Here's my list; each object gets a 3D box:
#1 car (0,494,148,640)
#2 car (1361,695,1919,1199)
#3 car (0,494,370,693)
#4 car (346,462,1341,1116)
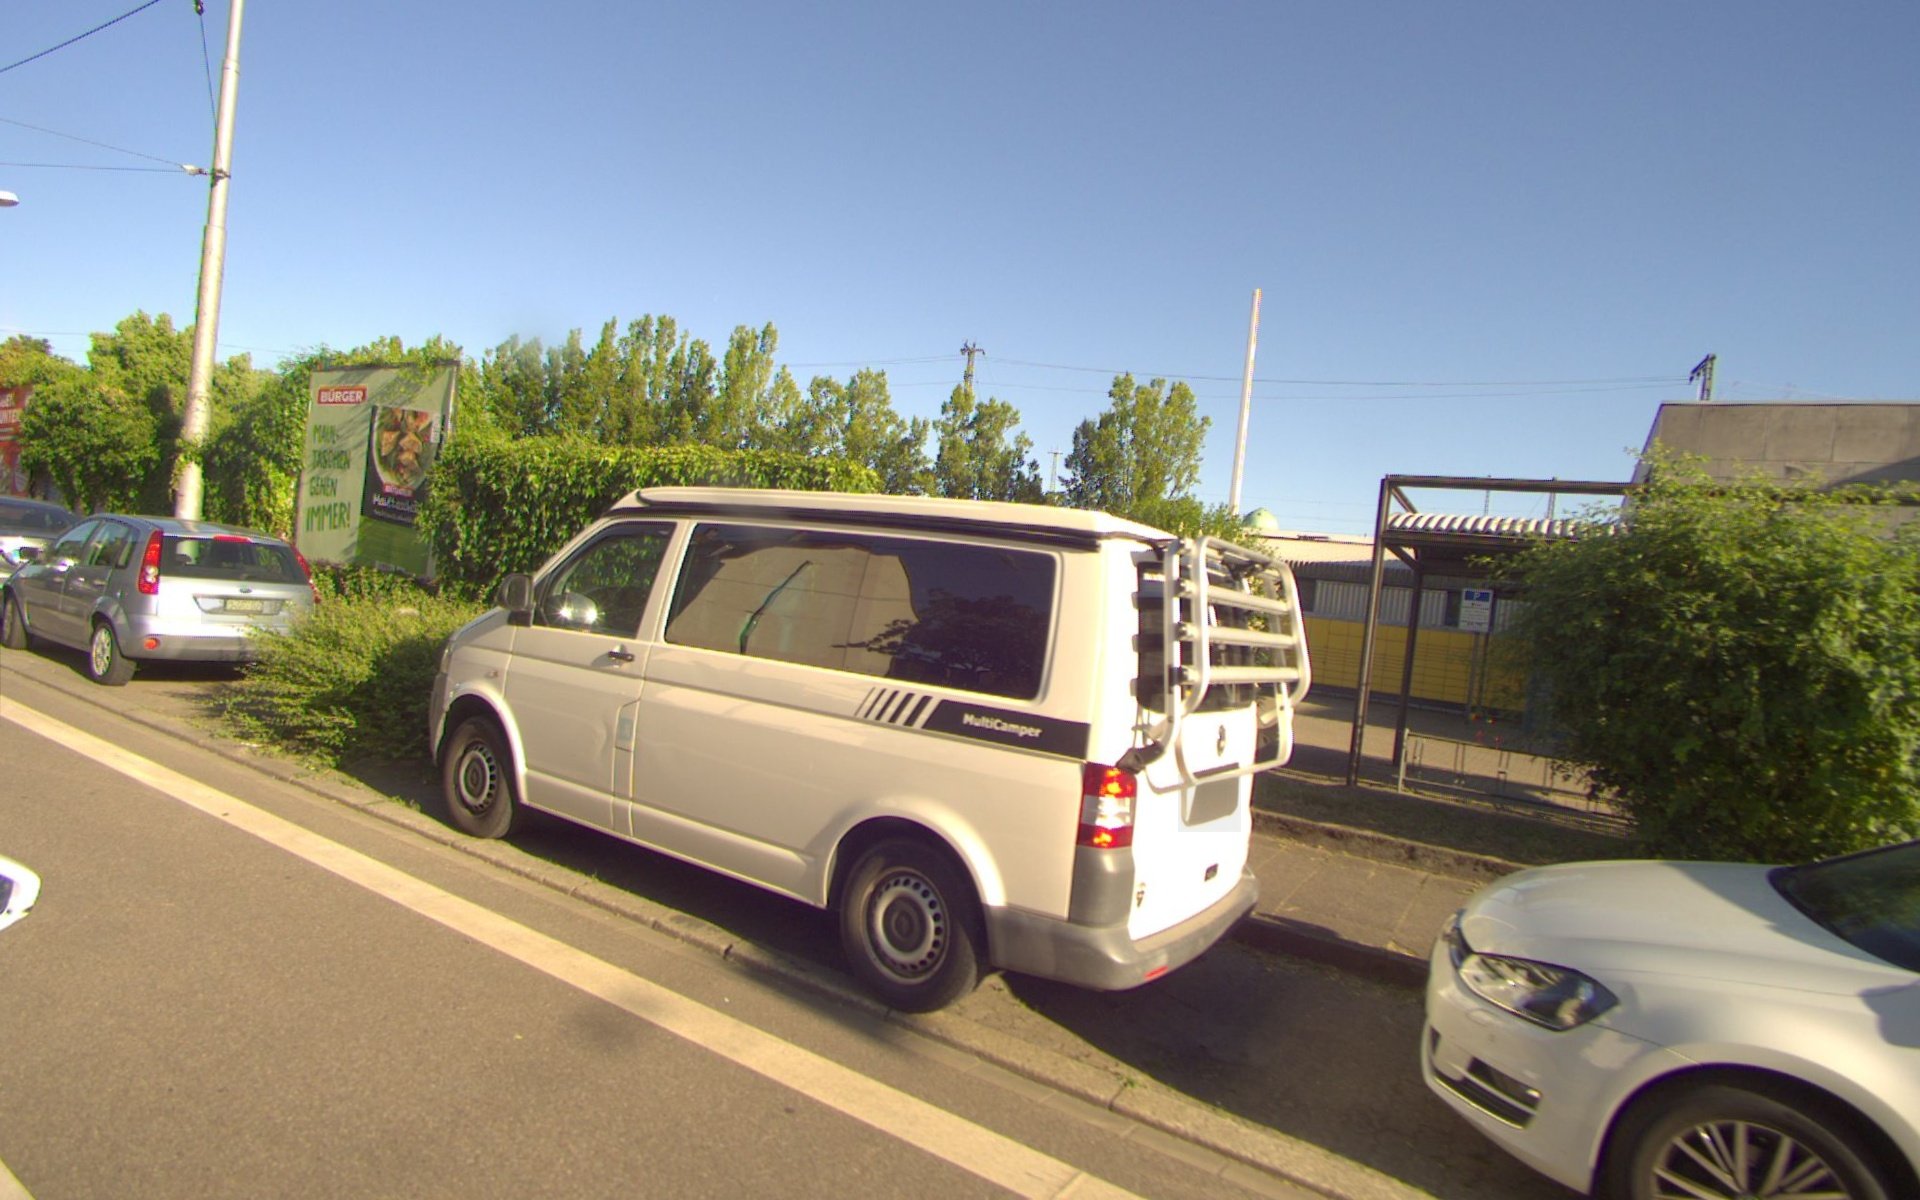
[{"bbox_3d":[-12.064,-0.560,12.333,4.526,1.502,1.827,6,-1,32],"label":"car"},{"bbox_3d":[3.601,1.311,2.665,4.426,1.436,1.677,6,1,30],"label":"car"},{"bbox_3d":[-7.943,-0.099,10.036,4.009,1.490,1.875,6,-1,33],"label":"car"},{"bbox_3d":[-0.948,0.472,5.387,5.157,2.016,1.855,6,0,33],"label":"car"}]
